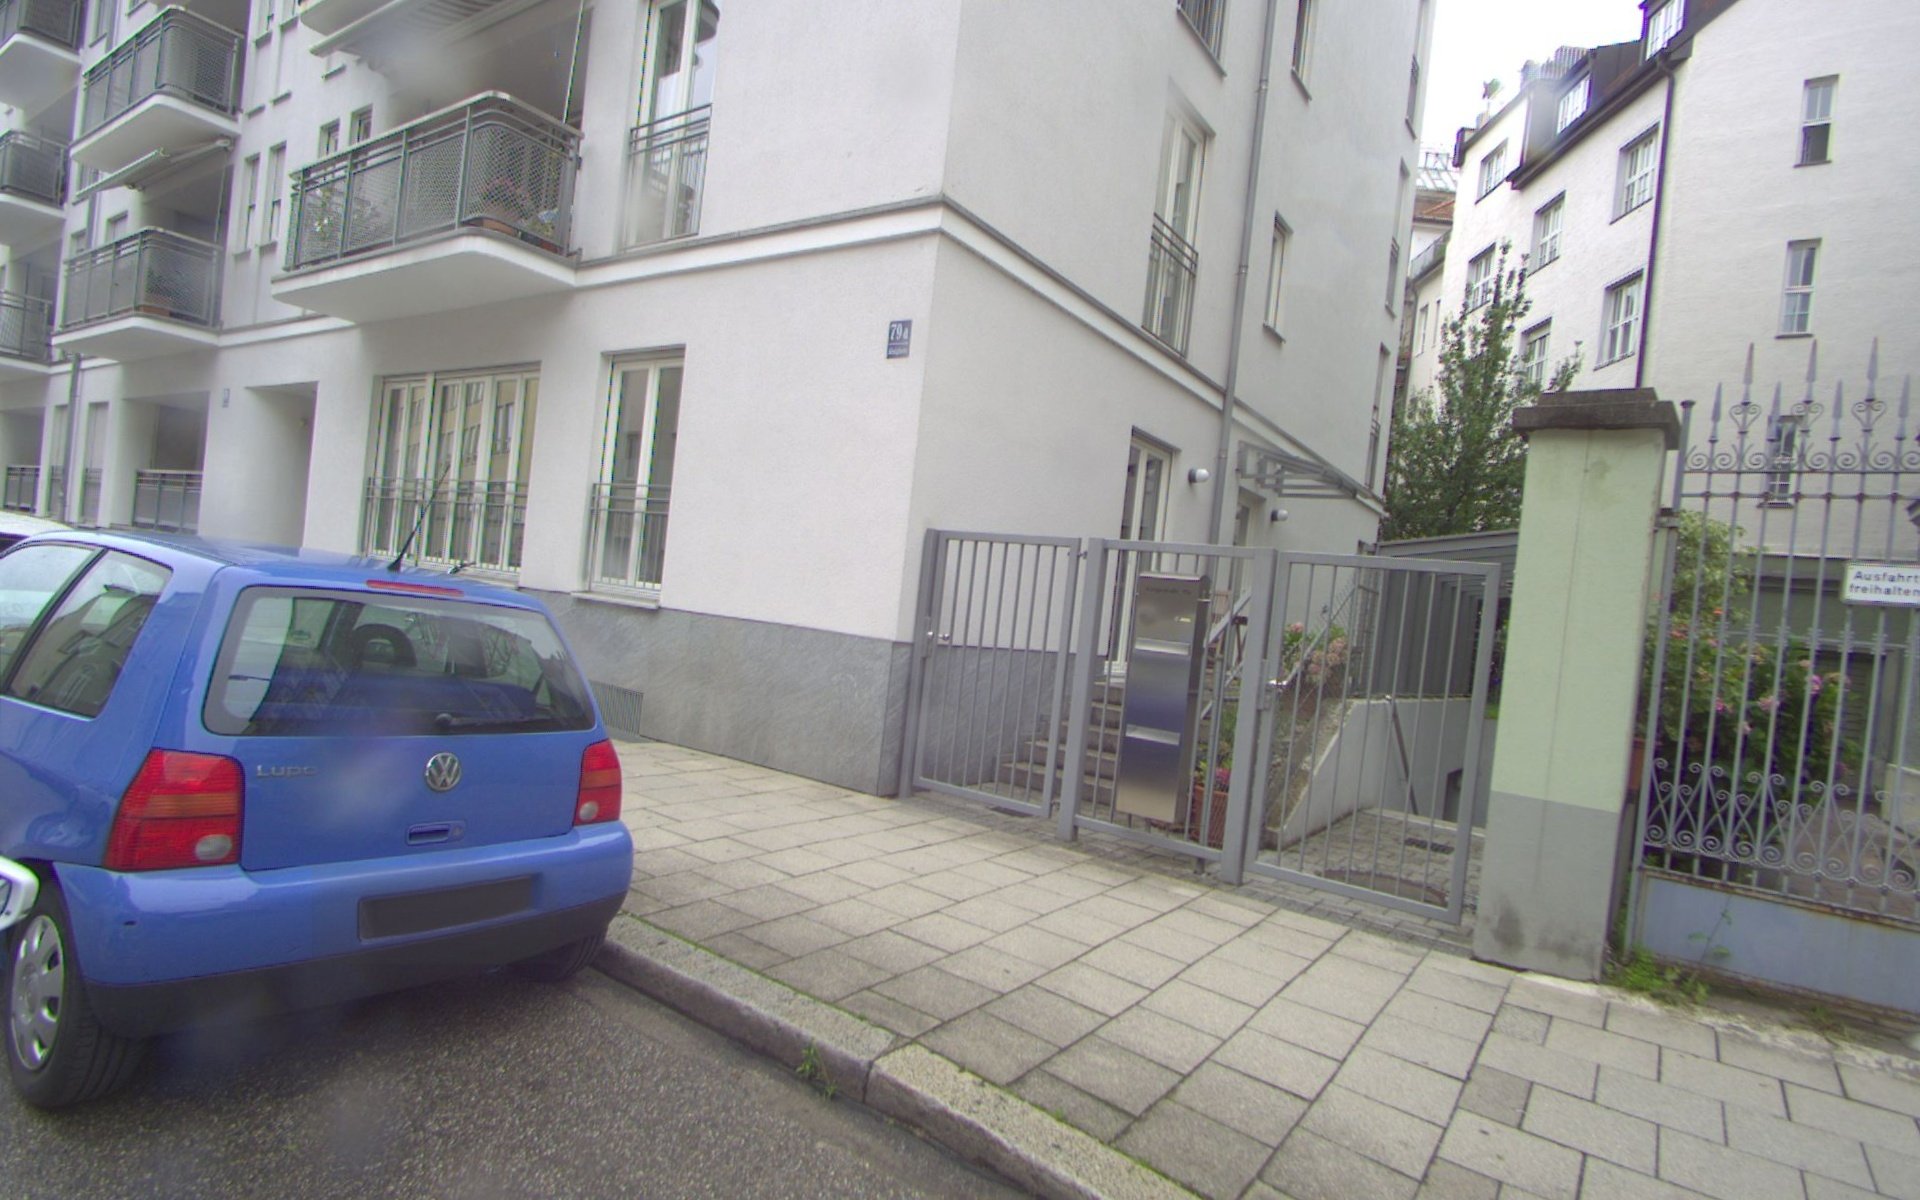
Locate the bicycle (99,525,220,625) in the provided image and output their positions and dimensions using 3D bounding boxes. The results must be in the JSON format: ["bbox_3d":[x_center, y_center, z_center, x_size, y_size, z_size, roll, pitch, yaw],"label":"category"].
[{"bbox_3d":[-11.120,-0.364,13.955,2.093,1.175,0.627,6,1,33],"label":"bicycle"}]

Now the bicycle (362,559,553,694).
[{"bbox_3d":[-4.521,0.216,9.008,1.806,1.040,0.677,4,-1,34],"label":"bicycle"}]

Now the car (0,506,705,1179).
[{"bbox_3d":[-2.873,0.482,3.833,3.496,1.428,1.621,6,-2,33],"label":"car"}]

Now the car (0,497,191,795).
[{"bbox_3d":[-6.462,0.033,5.969,4.139,1.456,1.661,6,-2,34],"label":"car"}]
